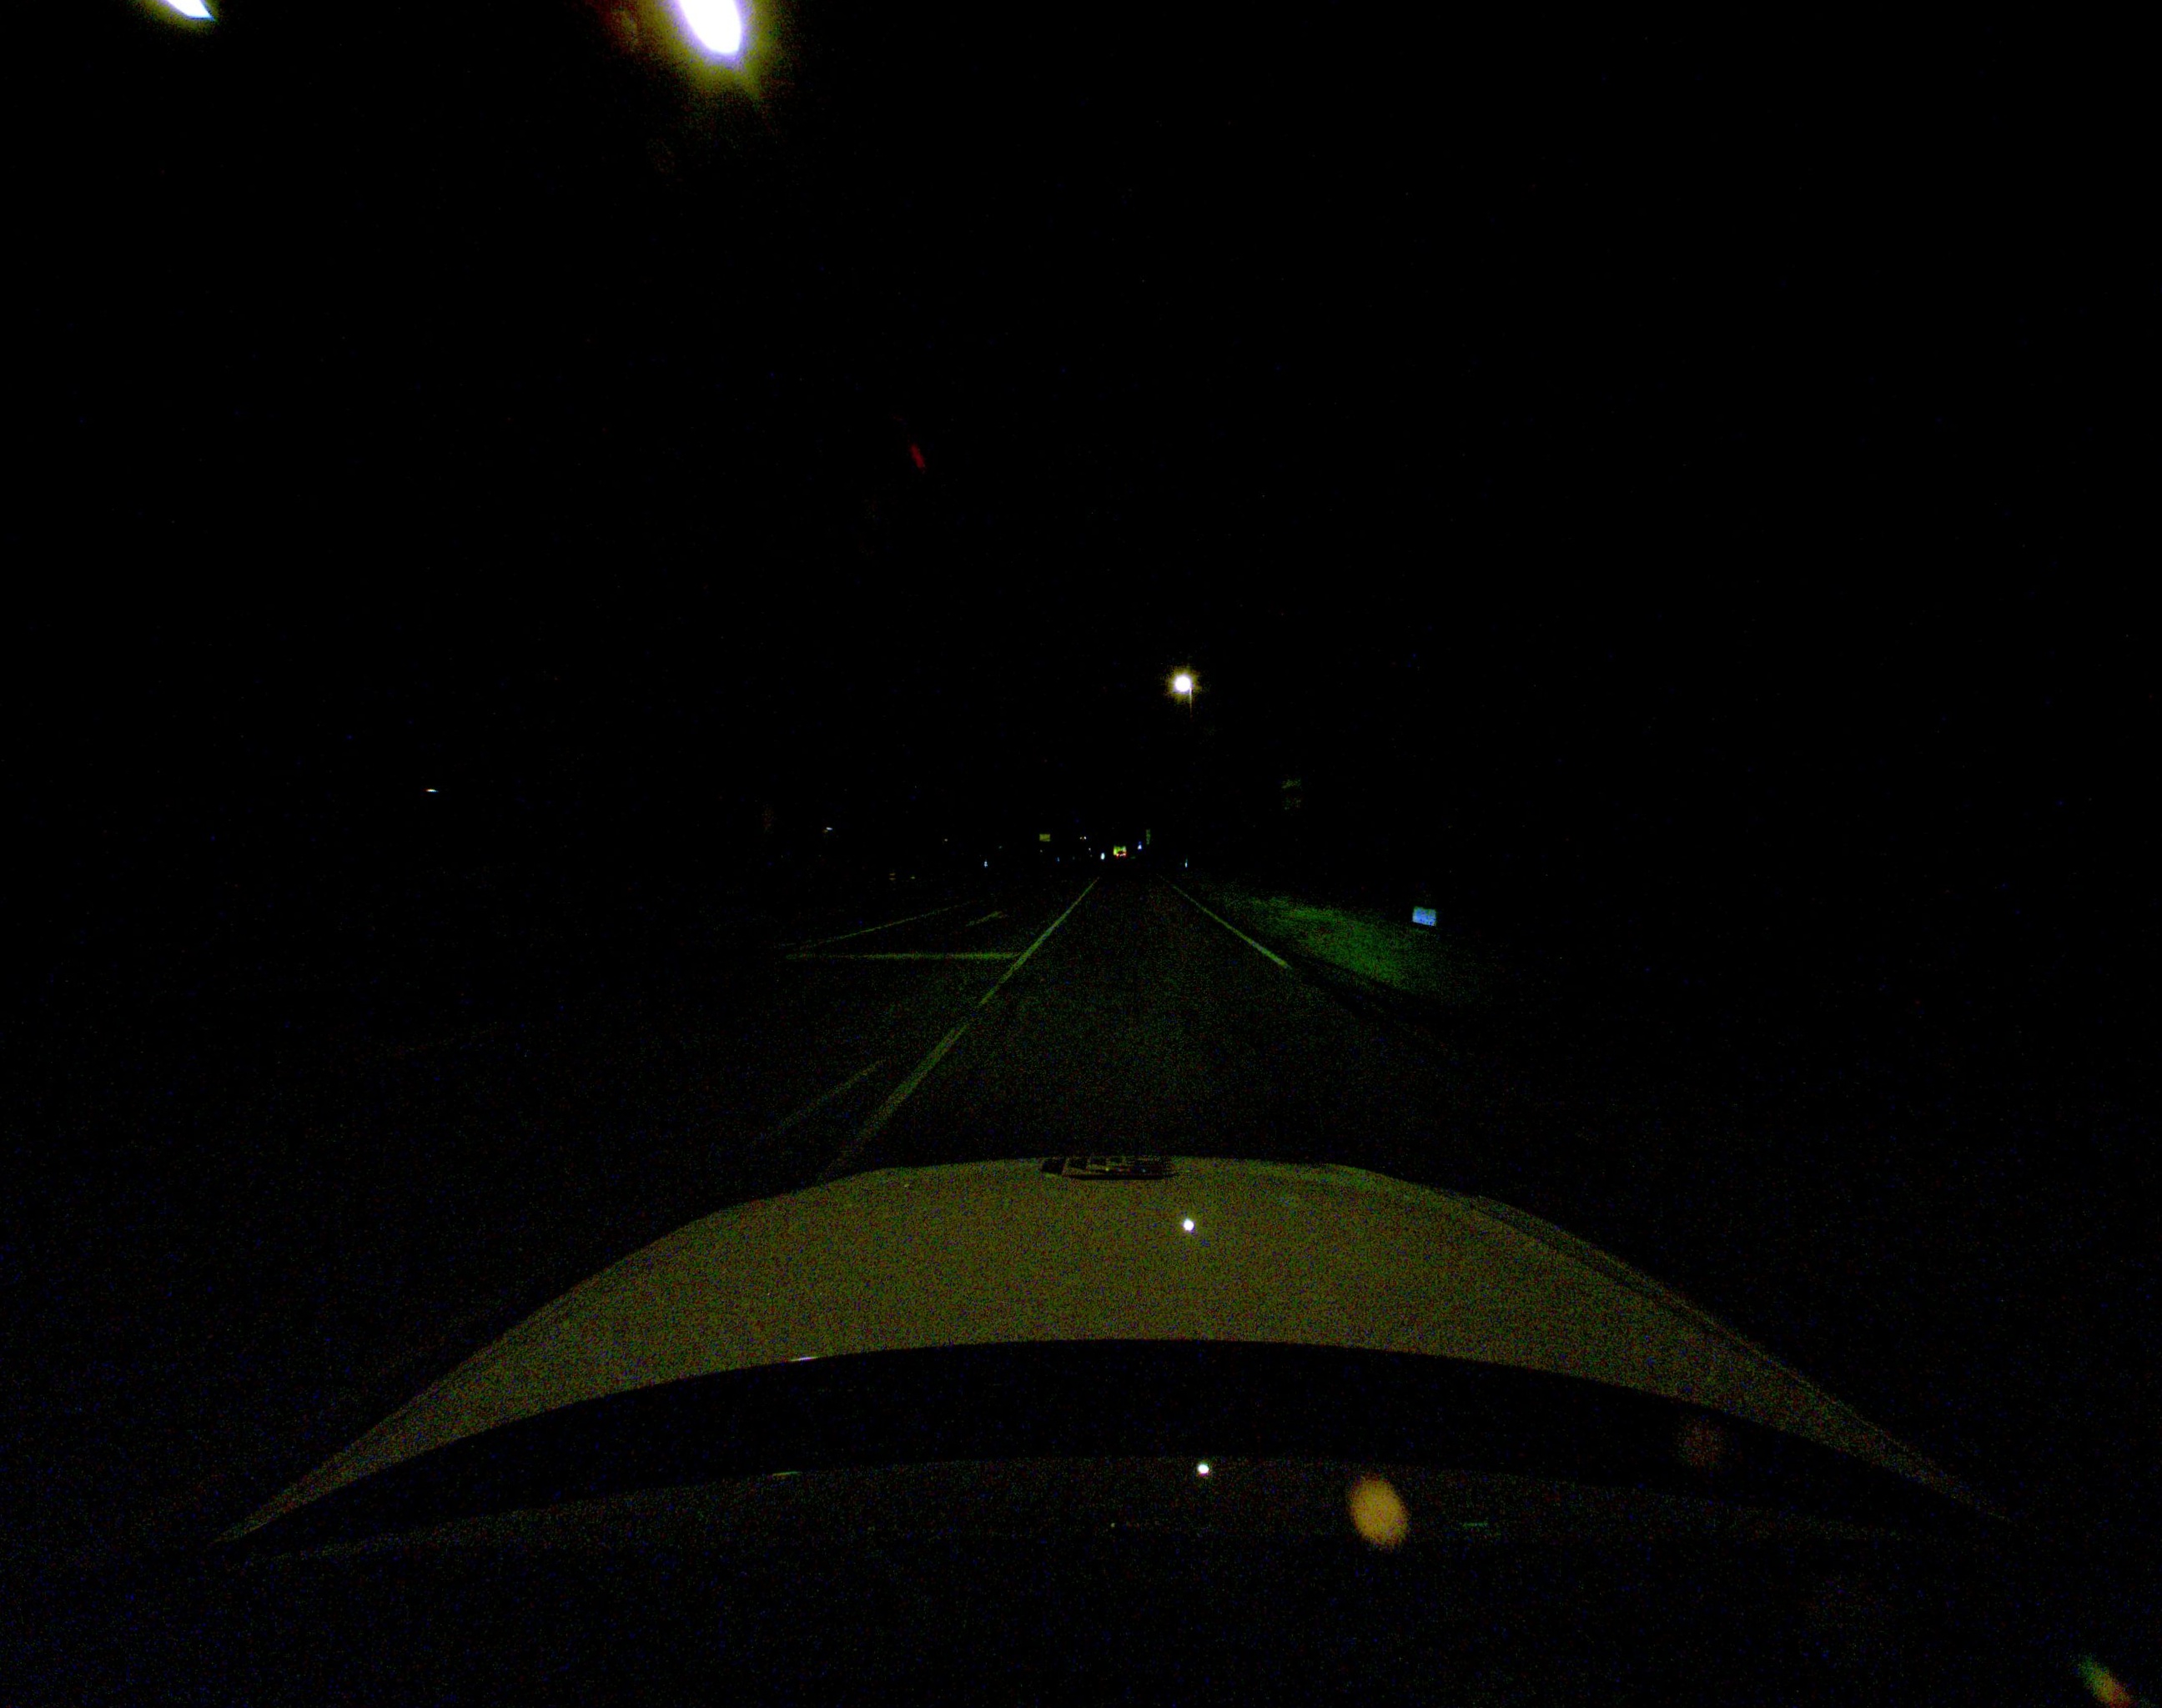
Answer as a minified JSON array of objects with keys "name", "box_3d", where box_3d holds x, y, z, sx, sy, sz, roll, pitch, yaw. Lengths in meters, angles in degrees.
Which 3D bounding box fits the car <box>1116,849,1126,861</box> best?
[{"name":"car","box_3d":[7.665,0.203,155.918,1.986,2.014,4.001,0,-3,2]}]
